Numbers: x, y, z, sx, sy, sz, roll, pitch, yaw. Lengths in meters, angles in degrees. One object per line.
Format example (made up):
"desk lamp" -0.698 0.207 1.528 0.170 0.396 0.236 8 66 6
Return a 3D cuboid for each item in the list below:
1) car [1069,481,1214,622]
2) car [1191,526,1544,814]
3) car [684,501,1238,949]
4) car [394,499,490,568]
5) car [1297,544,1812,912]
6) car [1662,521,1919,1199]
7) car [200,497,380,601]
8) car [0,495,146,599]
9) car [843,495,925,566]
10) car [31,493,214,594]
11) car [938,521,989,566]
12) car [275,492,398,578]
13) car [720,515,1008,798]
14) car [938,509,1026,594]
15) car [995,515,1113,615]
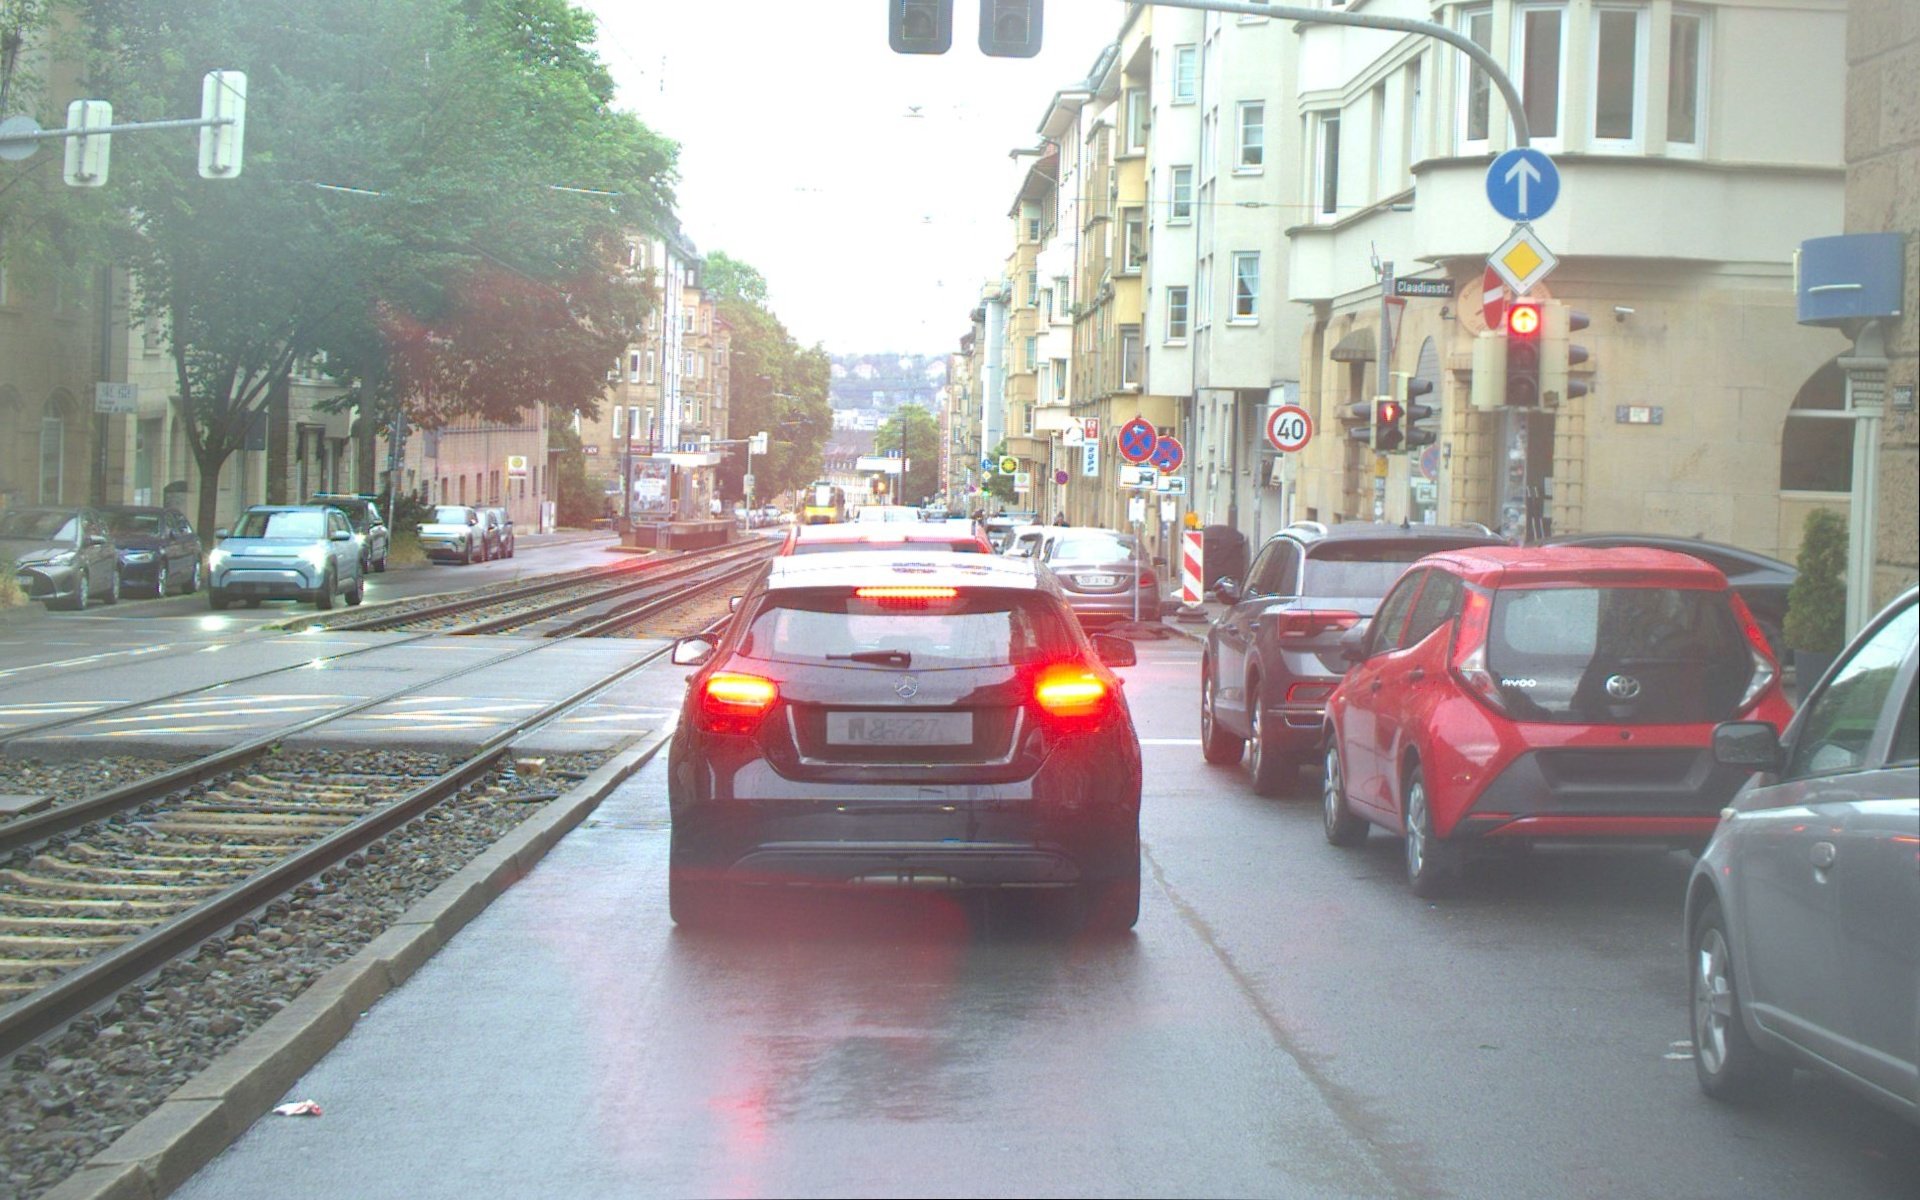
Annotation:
"car" 2.700 -0.708 52.036 1.898 2.021 4.176 1 0 -1
"car" 2.352 0.342 20.713 1.549 1.503 4.000 2 1 -1
"car" -0.058 0.434 14.043 1.946 1.559 3.643 1 0 -2
"car" -14.144 -1.820 94.070 1.993 1.787 4.000 2 1 -1
"car" 2.543 0.489 15.376 1.602 1.414 3.149 2 1 -2
"car" 2.857 0.610 8.052 1.638 1.537 3.466 2 1 -1
"car" -10.373 -0.796 53.472 1.796 1.543 4.000 1 1 3
"car" -13.328 -0.774 50.557 1.771 1.459 4.000 1 1 -1
"car" -1.872 -1.739 86.013 1.921 1.649 4.000 2 1 0
"car" -13.563 -0.923 55.877 1.993 1.512 4.000 2 1 -1
"car" 0.130 -2.259 136.095 1.909 1.700 4.000 2 1 -1
"car" -13.865 -1.456 76.607 1.993 1.787 4.000 2 1 -1
"car" -0.550 0.273 20.987 1.536 1.505 4.000 2 1 -1
"car" 0.469 -1.048 75.871 1.852 1.791 3.812 1 0 -1
"car" 1.727 -0.639 64.289 1.768 1.770 4.001 1 0 -5
